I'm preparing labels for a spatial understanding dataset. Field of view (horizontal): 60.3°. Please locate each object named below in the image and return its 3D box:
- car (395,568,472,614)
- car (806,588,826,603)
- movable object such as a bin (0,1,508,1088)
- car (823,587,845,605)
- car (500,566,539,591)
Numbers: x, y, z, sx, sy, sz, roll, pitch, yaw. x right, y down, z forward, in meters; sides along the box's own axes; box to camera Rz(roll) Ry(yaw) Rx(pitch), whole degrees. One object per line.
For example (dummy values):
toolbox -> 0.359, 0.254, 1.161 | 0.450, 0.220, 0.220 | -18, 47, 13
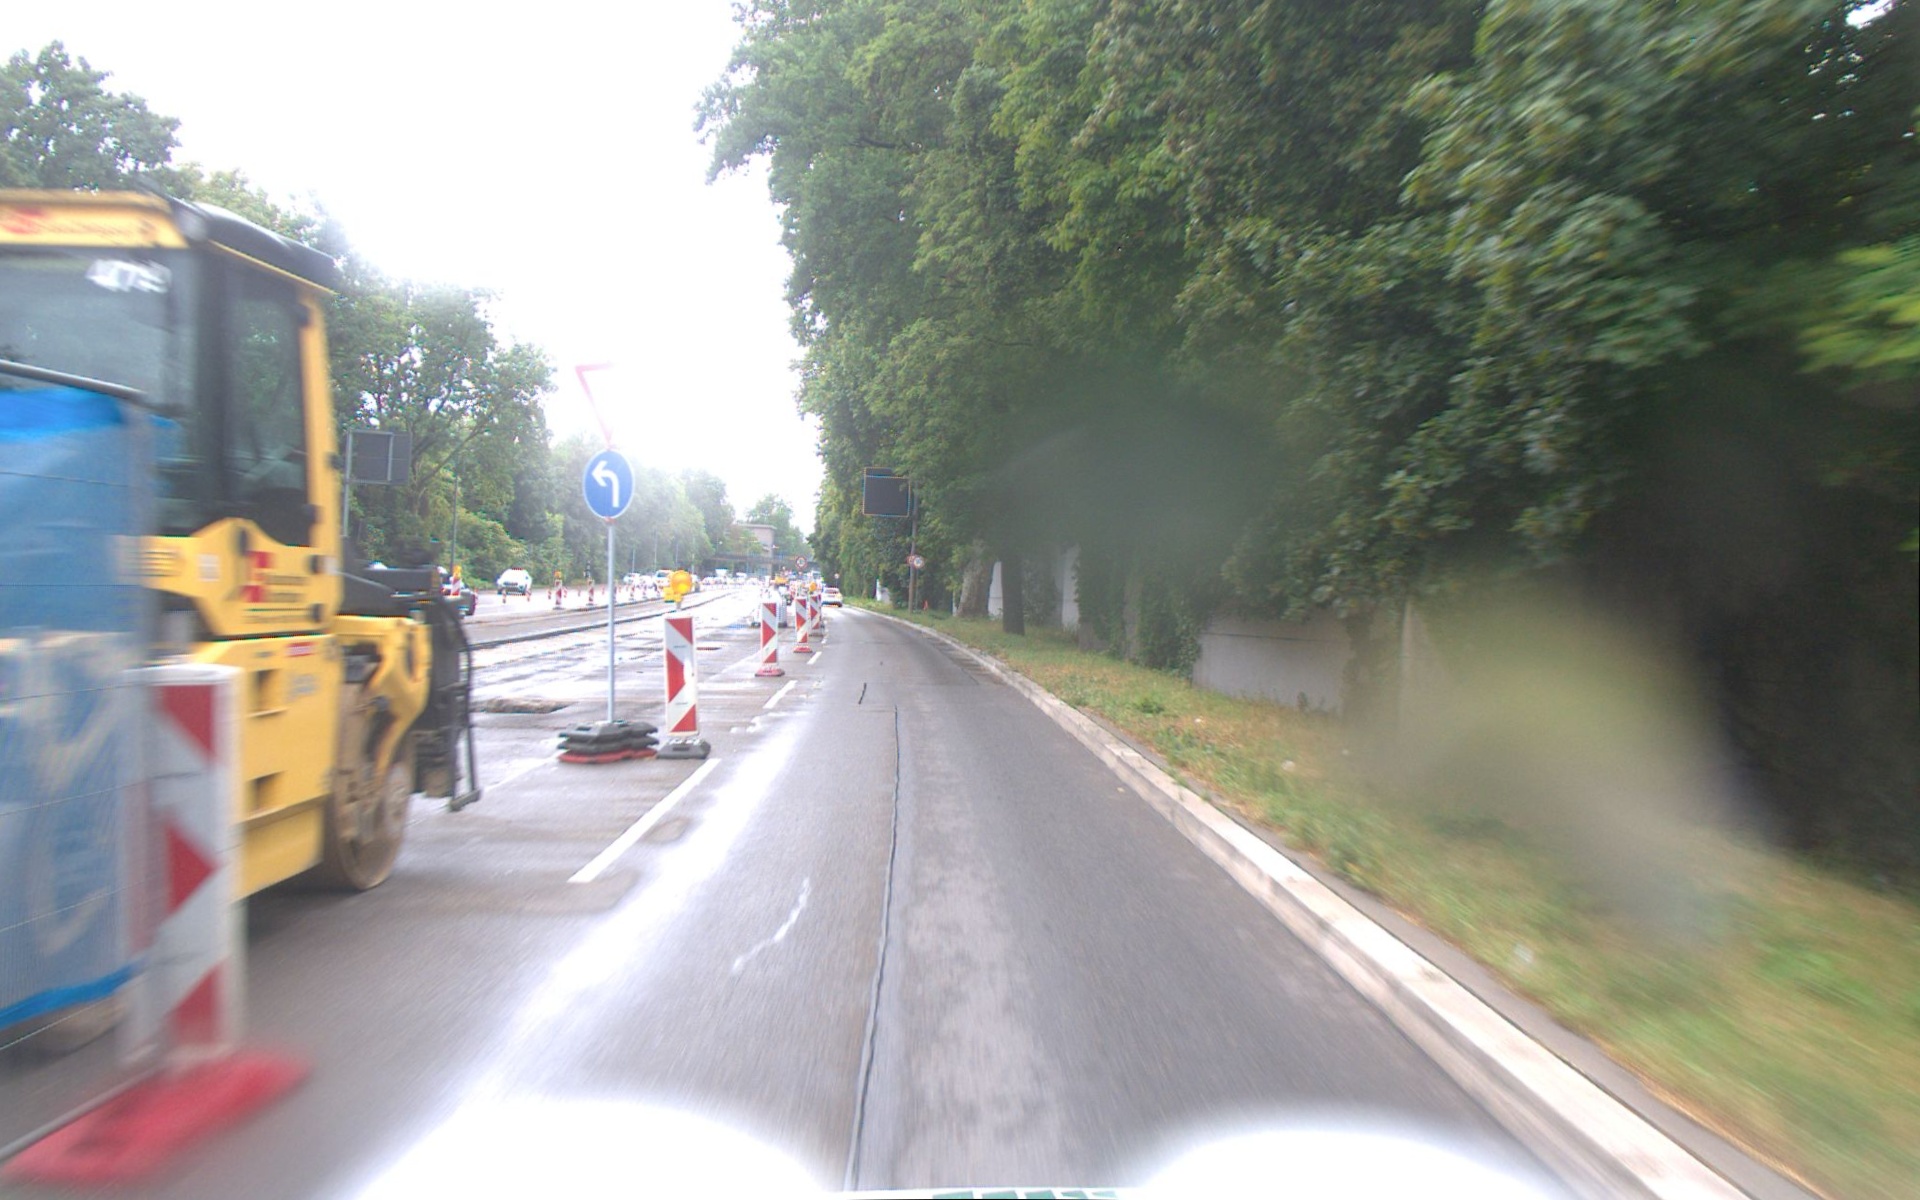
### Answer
car -> -17.589, -0.315, 55.448 | 1.576, 1.428, 4.036 | 2, 1, -6
car -> -14.166, -0.437, 162.907 | 1.818, 1.458, 3.728 | 1, 0, -4
movable object such as a bin -> -3.566, -0.196, 7.220 | 1.767, 3.037, 5.244 | 1, 0, -1
car -> -9.888, -0.329, 129.710 | 1.665, 1.359, 3.486 | 0, 1, -6
car -> -28.202, -1.396, 106.032 | 1.634, 1.568, 4.154 | -1, 1, -4
